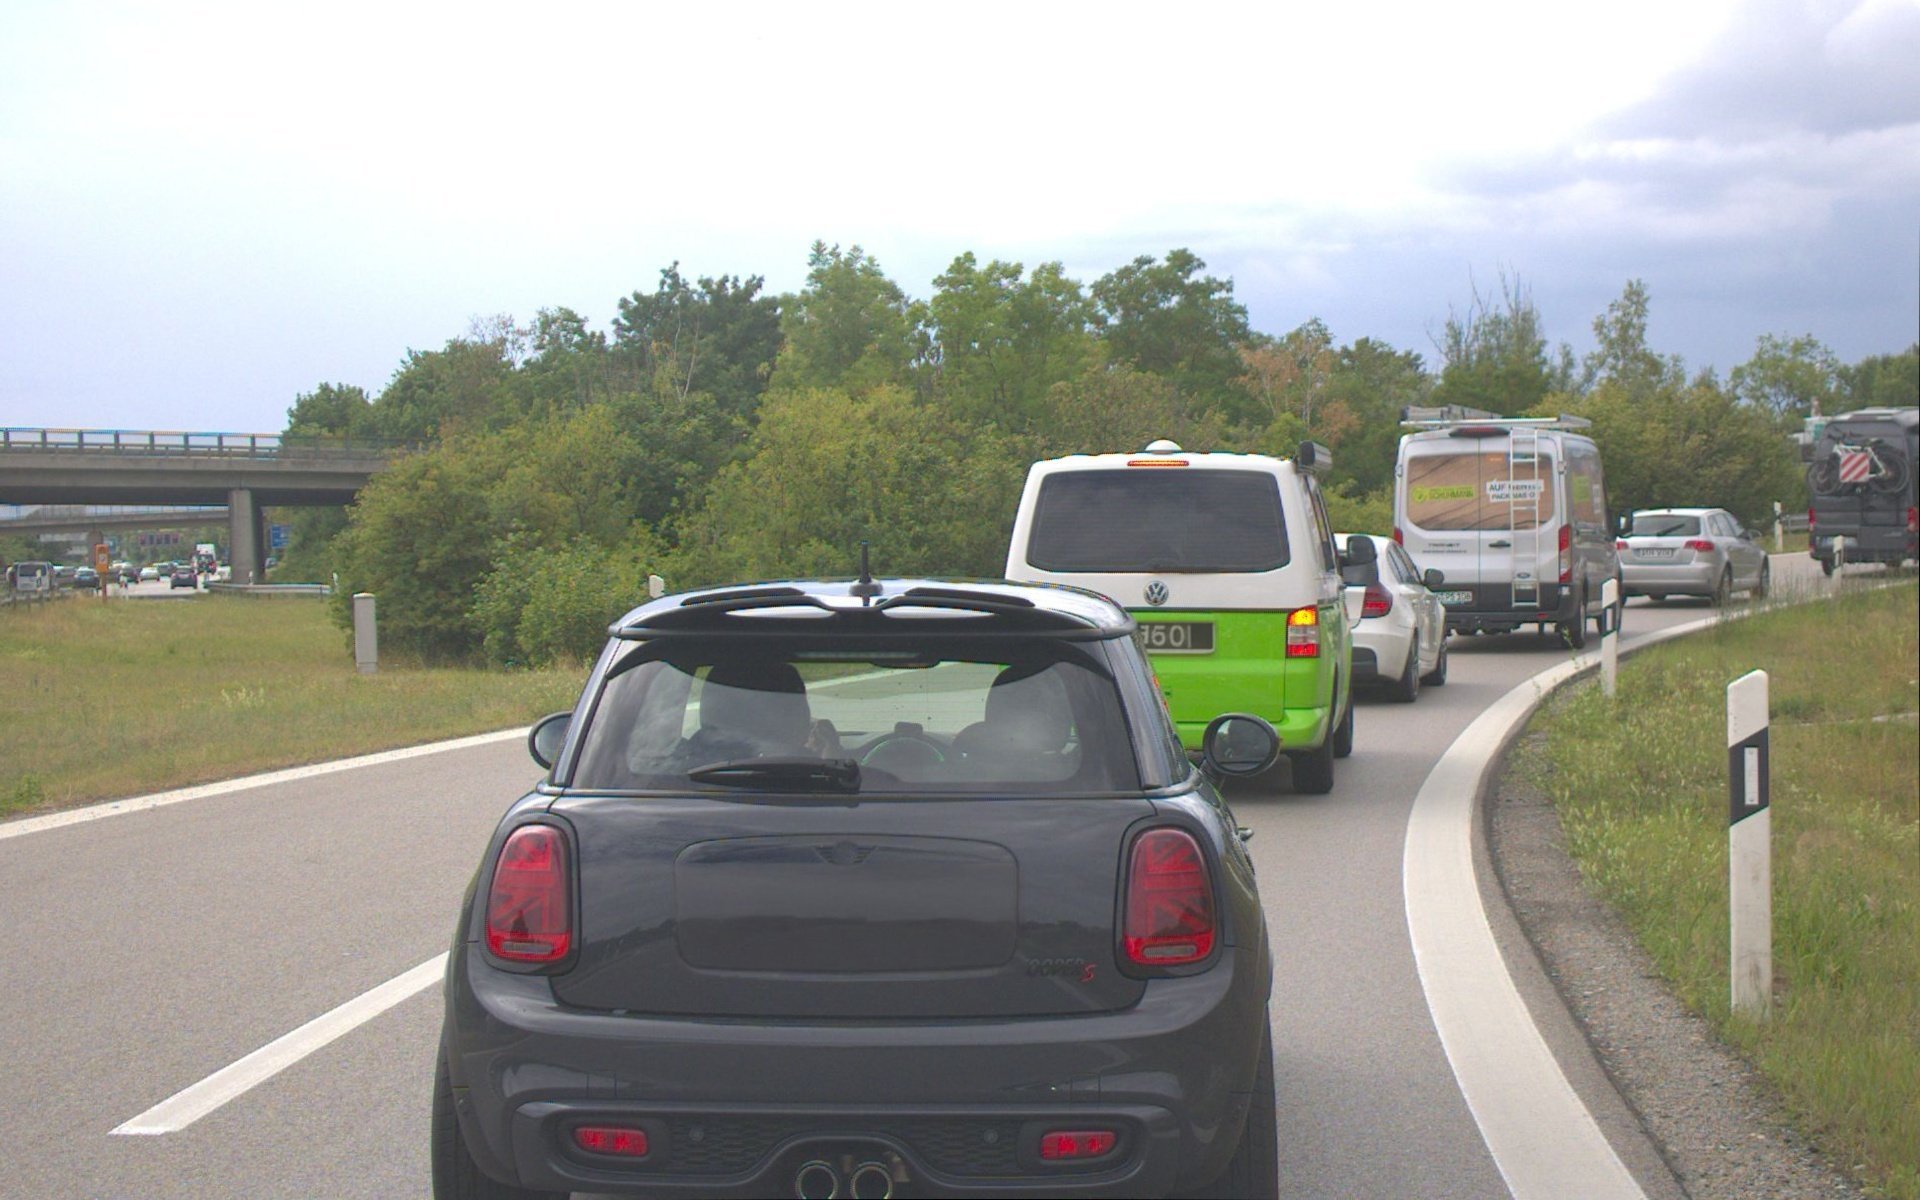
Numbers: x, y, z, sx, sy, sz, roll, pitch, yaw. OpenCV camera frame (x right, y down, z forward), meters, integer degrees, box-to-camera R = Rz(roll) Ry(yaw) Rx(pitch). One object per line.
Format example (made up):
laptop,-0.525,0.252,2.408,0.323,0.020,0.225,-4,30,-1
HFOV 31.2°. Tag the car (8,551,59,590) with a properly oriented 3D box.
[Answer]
car,-42.760,-1.366,158.750,1.876,1.745,4.488,-1,1,-10

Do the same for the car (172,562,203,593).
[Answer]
car,-51.273,-1.462,228.290,1.993,2.007,4.001,1,0,-12

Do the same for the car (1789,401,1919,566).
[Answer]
car,16.152,-2.015,60.274,2.108,2.787,3.993,1,1,30

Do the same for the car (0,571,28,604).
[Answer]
car,-53.323,-0.694,192.028,1.993,1.779,5.413,-1,1,-10

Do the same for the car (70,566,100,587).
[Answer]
car,-60.428,-1.638,237.454,1.721,1.419,4.799,-1,1,-11

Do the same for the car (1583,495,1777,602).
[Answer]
car,10.623,-0.751,50.535,1.869,1.504,3.994,0,1,26

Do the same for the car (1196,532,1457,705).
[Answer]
car,3.227,0.129,29.713,1.763,1.394,3.723,0,1,13

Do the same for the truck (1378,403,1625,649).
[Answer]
truck,6.334,-0.867,39.724,2.180,2.649,5.105,0,2,16

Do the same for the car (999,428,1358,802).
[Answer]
car,1.401,0.047,20.572,1.785,2.007,3.999,0,1,9

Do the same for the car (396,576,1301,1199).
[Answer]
car,-0.215,0.659,8.435,1.727,1.409,3.725,0,1,0
